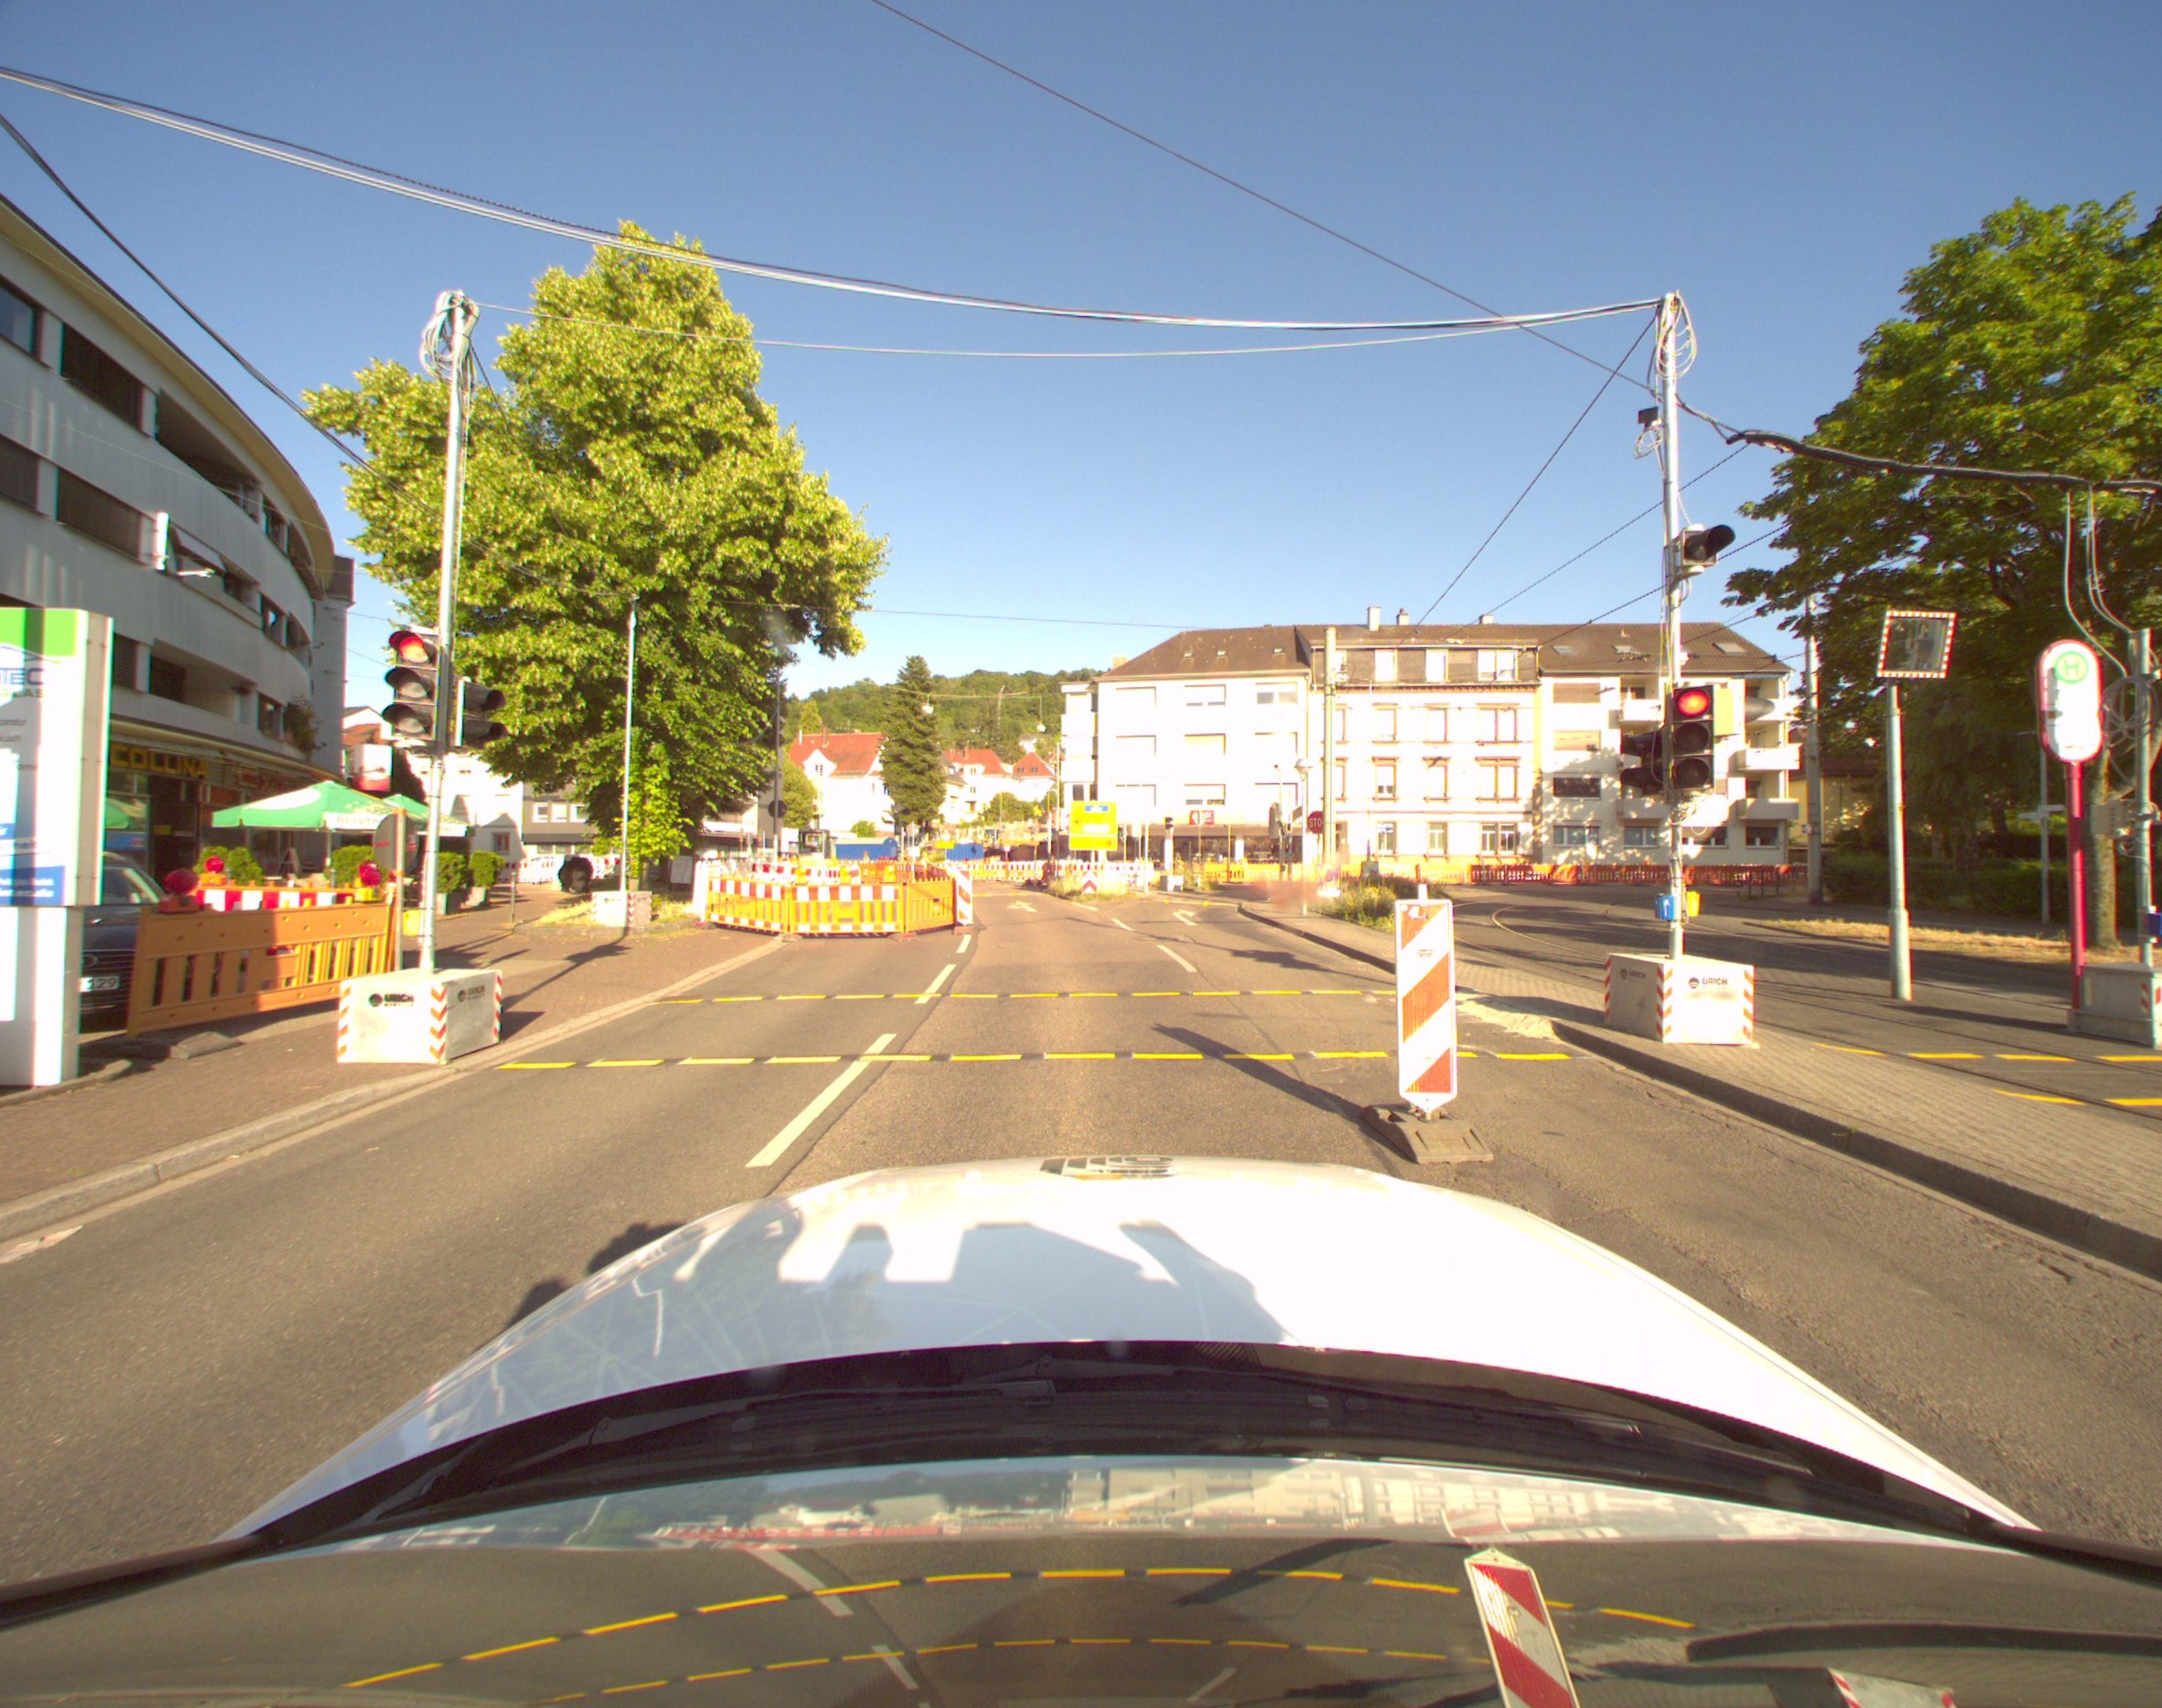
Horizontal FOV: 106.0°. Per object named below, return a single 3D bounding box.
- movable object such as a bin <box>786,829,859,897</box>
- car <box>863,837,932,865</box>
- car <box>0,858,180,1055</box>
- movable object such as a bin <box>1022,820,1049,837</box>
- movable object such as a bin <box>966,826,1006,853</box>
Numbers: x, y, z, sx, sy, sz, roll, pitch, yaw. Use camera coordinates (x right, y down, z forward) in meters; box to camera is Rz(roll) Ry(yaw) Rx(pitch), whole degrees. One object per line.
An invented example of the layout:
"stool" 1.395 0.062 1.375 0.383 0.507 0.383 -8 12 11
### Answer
"movable object such as a bin" -9.392 0.305 29.892 1.643 2.324 3.916 0 0 -3
"car" -14.942 -0.221 66.724 2.562 2.121 6.181 -1 -1 20
"car" -9.321 0.783 7.325 3.835 1.438 1.606 -1 0 42
"movable object such as a bin" -6.414 -3.586 115.309 2.549 2.122 5.801 -1 -1 11
"movable object such as a bin" -9.238 -1.341 79.409 1.932 2.494 4.574 -1 -1 20
